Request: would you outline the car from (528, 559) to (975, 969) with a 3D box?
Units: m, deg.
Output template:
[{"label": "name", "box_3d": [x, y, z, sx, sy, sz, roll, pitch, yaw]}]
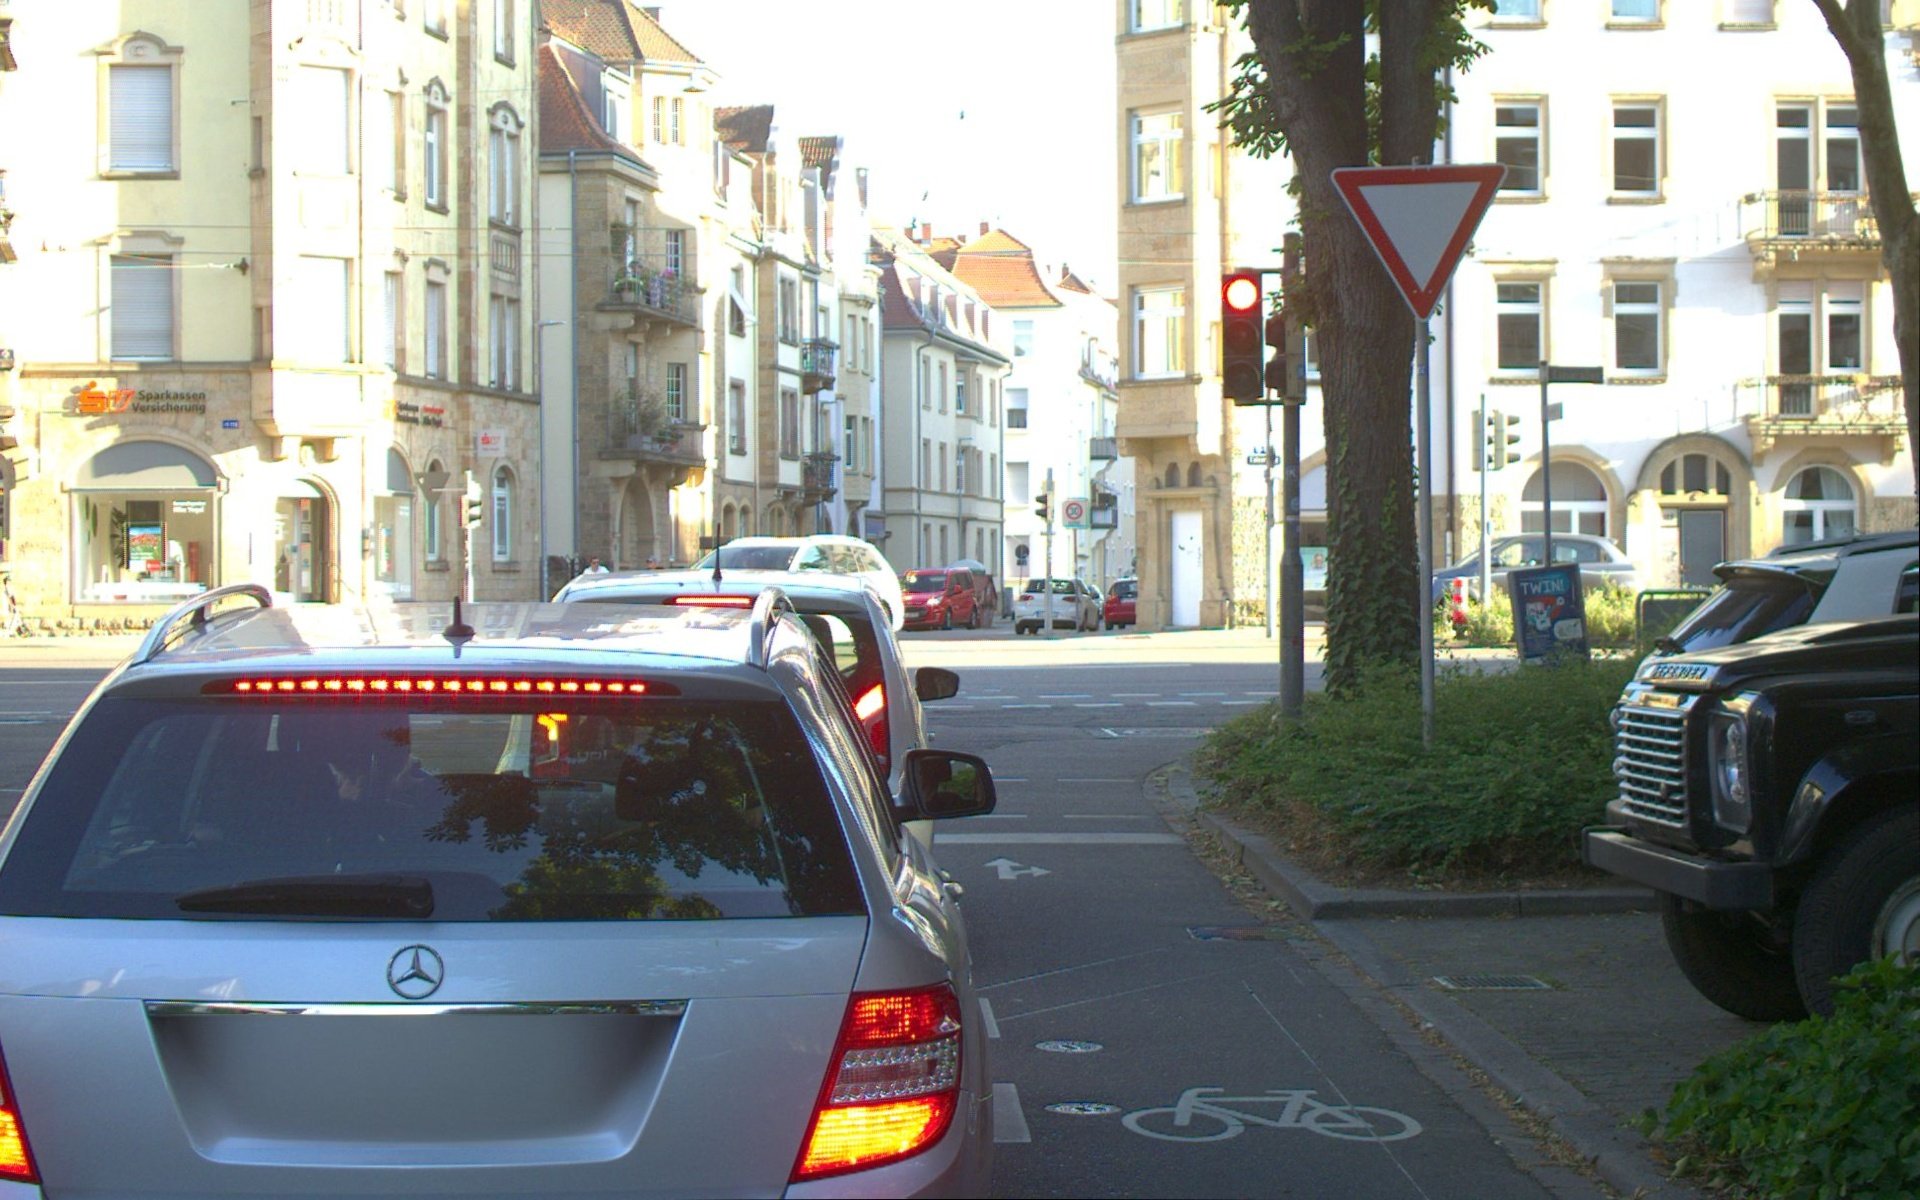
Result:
[{"label": "car", "box_3d": [-0.785, 0.547, 13.656, 1.533, 1.386, 3.600, 0, 1, -2]}]

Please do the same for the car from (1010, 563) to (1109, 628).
[{"label": "car", "box_3d": [2.513, -0.131, 85.860, 1.722, 1.473, 3.998, -2, 1, 12]}]

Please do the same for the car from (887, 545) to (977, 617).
[{"label": "car", "box_3d": [-0.750, -0.550, 95.862, 1.938, 1.952, 4.149, 0, 1, 8]}]

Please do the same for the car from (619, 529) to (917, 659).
[{"label": "car", "box_3d": [-2.290, -0.117, 42.144, 1.783, 1.457, 4.294, 0, 2, 26]}]

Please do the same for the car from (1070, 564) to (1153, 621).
[{"label": "car", "box_3d": [4.518, -0.234, 102.080, 1.722, 1.473, 3.998, -4, 1, 12]}]

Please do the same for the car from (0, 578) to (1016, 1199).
[{"label": "car", "box_3d": [-0.873, 0.700, 6.485, 1.690, 1.424, 3.493, 1, 1, -3]}]

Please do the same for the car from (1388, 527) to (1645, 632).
[{"label": "car", "box_3d": [8.310, -0.318, 51.496, 3.580, 1.496, 1.621, 0, 2, 0]}]

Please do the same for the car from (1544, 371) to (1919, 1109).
[{"label": "car", "box_3d": [4.185, 0.284, 10.178, 4.490, 1.949, 1.793, -2, 1, -3]}]

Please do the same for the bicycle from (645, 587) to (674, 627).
[{"label": "bicycle", "box_3d": [-6.410, 0.146, 73.336, 0.568, 0.832, 1.566, 0, 1, -4]}]

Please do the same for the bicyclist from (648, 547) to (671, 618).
[{"label": "bicyclist", "box_3d": [-6.410, -0.377, 73.432, 0.466, 1.516, 0.694, 0, 1, -4]}]

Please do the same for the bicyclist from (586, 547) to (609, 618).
[{"label": "bicyclist", "box_3d": [-7.740, -0.369, 73.415, 0.466, 1.509, 0.655, 0, 1, -4]}]

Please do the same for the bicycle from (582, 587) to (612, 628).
[{"label": "bicycle", "box_3d": [-7.761, 0.158, 73.573, 0.568, 0.832, 1.566, 0, 1, -4]}]

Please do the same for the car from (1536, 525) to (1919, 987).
[{"label": "car", "box_3d": [4.130, 0.498, 12.988, 3.480, 1.580, 1.711, -2, 1, -6]}]

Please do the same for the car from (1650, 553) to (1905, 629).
[{"label": "car", "box_3d": [11.833, -0.140, 49.857, 3.364, 1.065, 1.380, 0, 1, -1]}]
